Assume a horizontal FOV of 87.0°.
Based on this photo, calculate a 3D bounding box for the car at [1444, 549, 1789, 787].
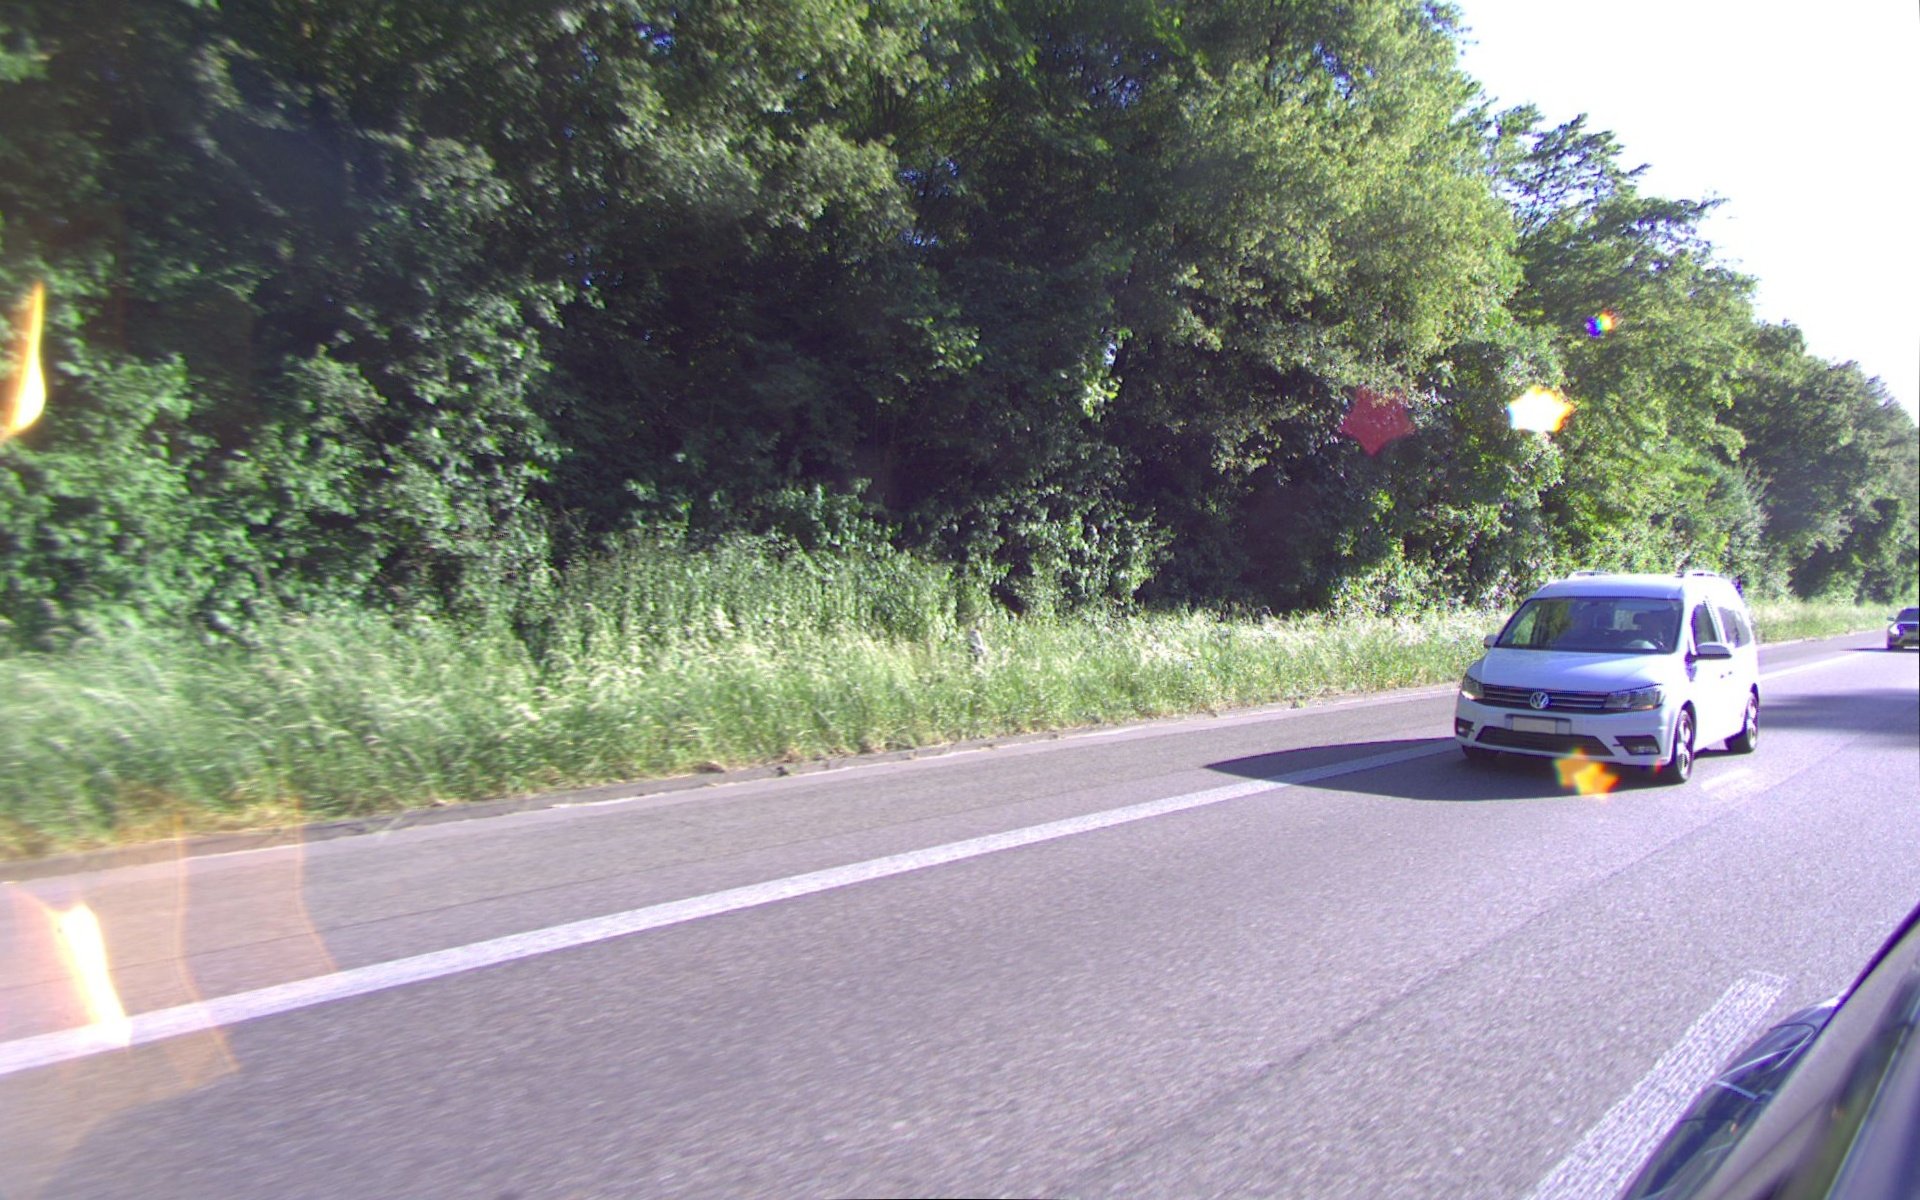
[{"bbox_3d":[6.634,0.497,10.002,4.510,1.836,1.801,-1,0,-43],"label":"car"}]

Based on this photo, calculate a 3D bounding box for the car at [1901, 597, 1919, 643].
[{"bbox_3d":[32.690,0.654,33.639,3.812,1.467,1.792,0,0,-43],"label":"car"}]
